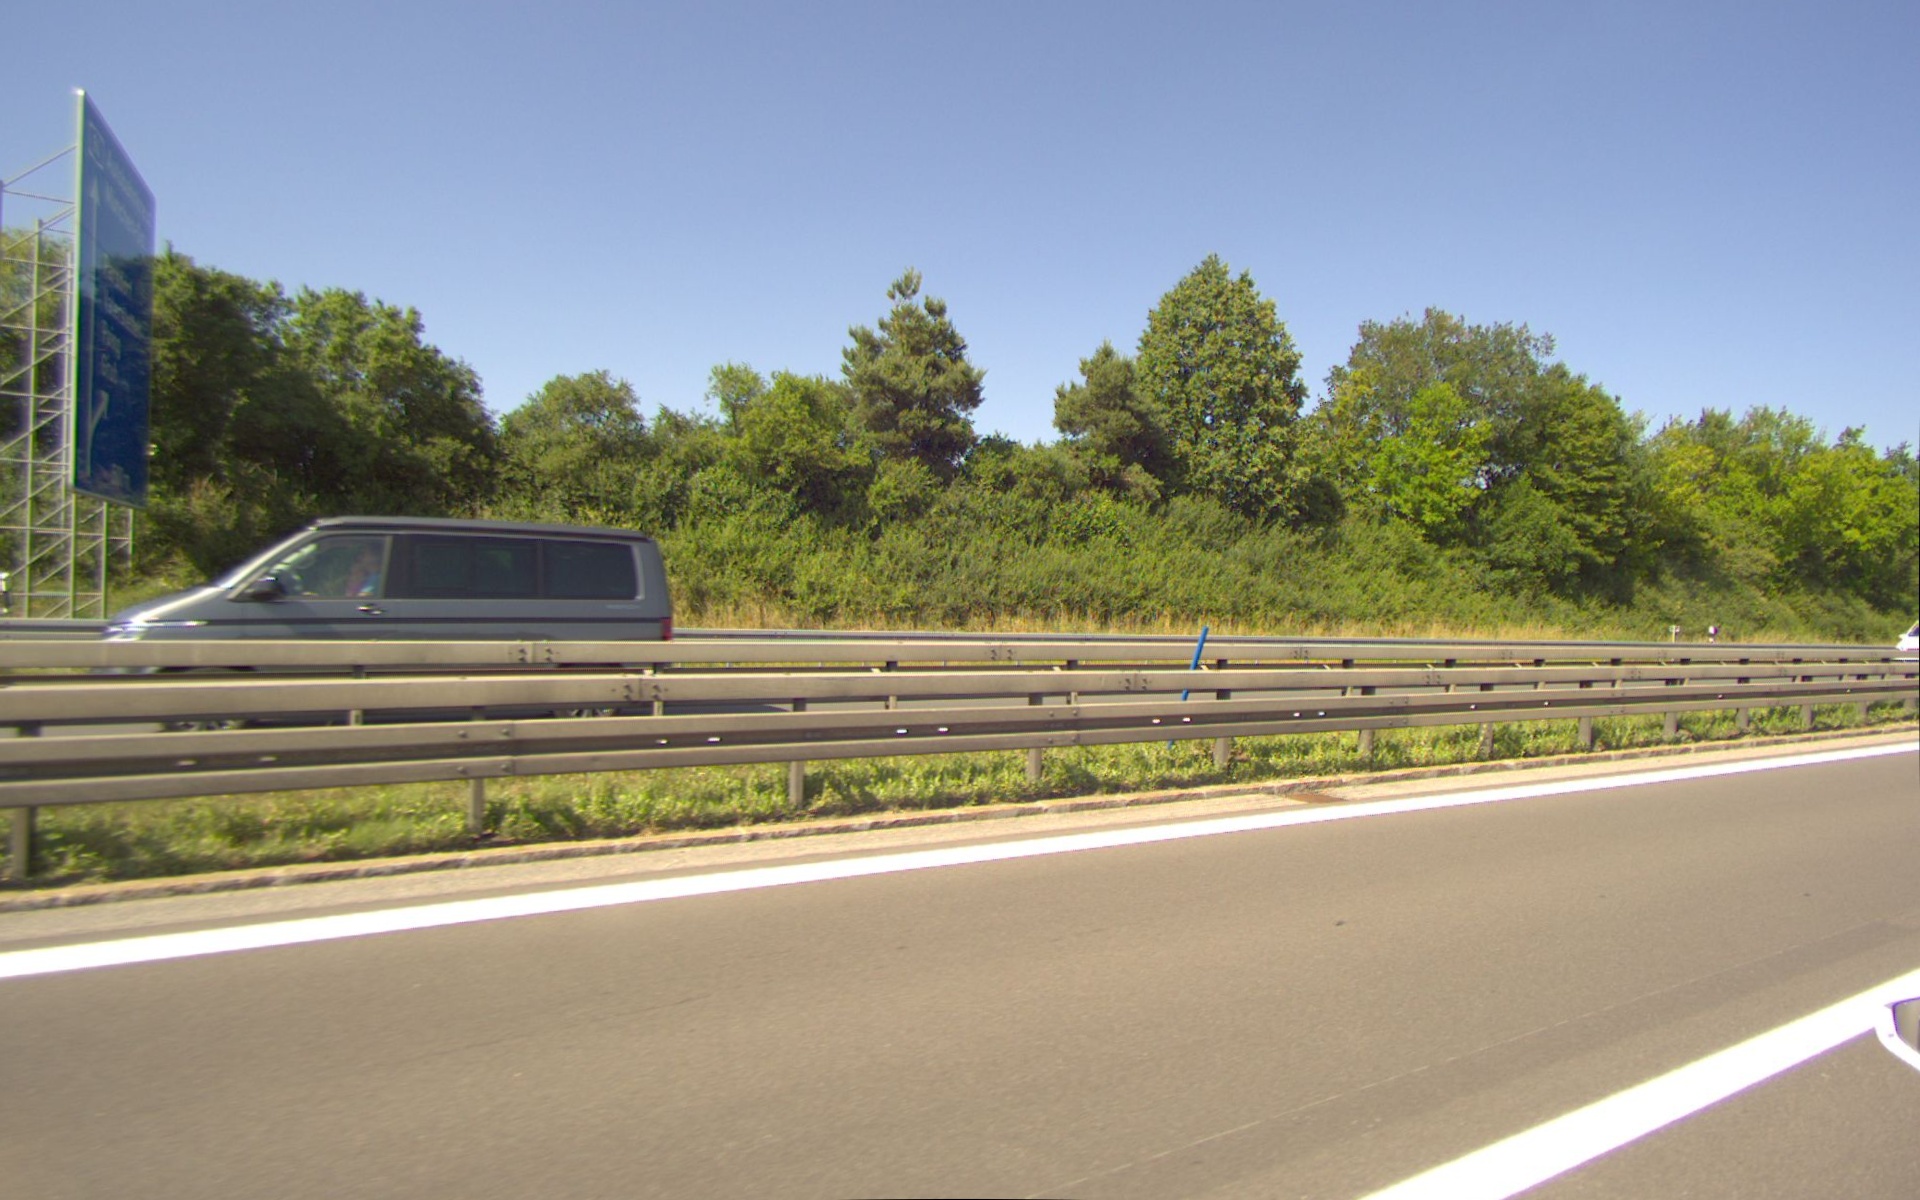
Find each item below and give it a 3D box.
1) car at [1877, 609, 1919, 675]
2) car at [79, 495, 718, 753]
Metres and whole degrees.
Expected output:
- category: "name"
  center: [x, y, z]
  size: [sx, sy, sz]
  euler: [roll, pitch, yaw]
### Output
- category: "car"
  center: [31.878, 1.365, 32.280]
  size: [5.625, 2.016, 1.984]
  euler: [2, 0, -31]
- category: "car"
  center: [-5.136, 0.223, 9.898]
  size: [4.980, 1.999, 1.984]
  euler: [2, 1, -30]
